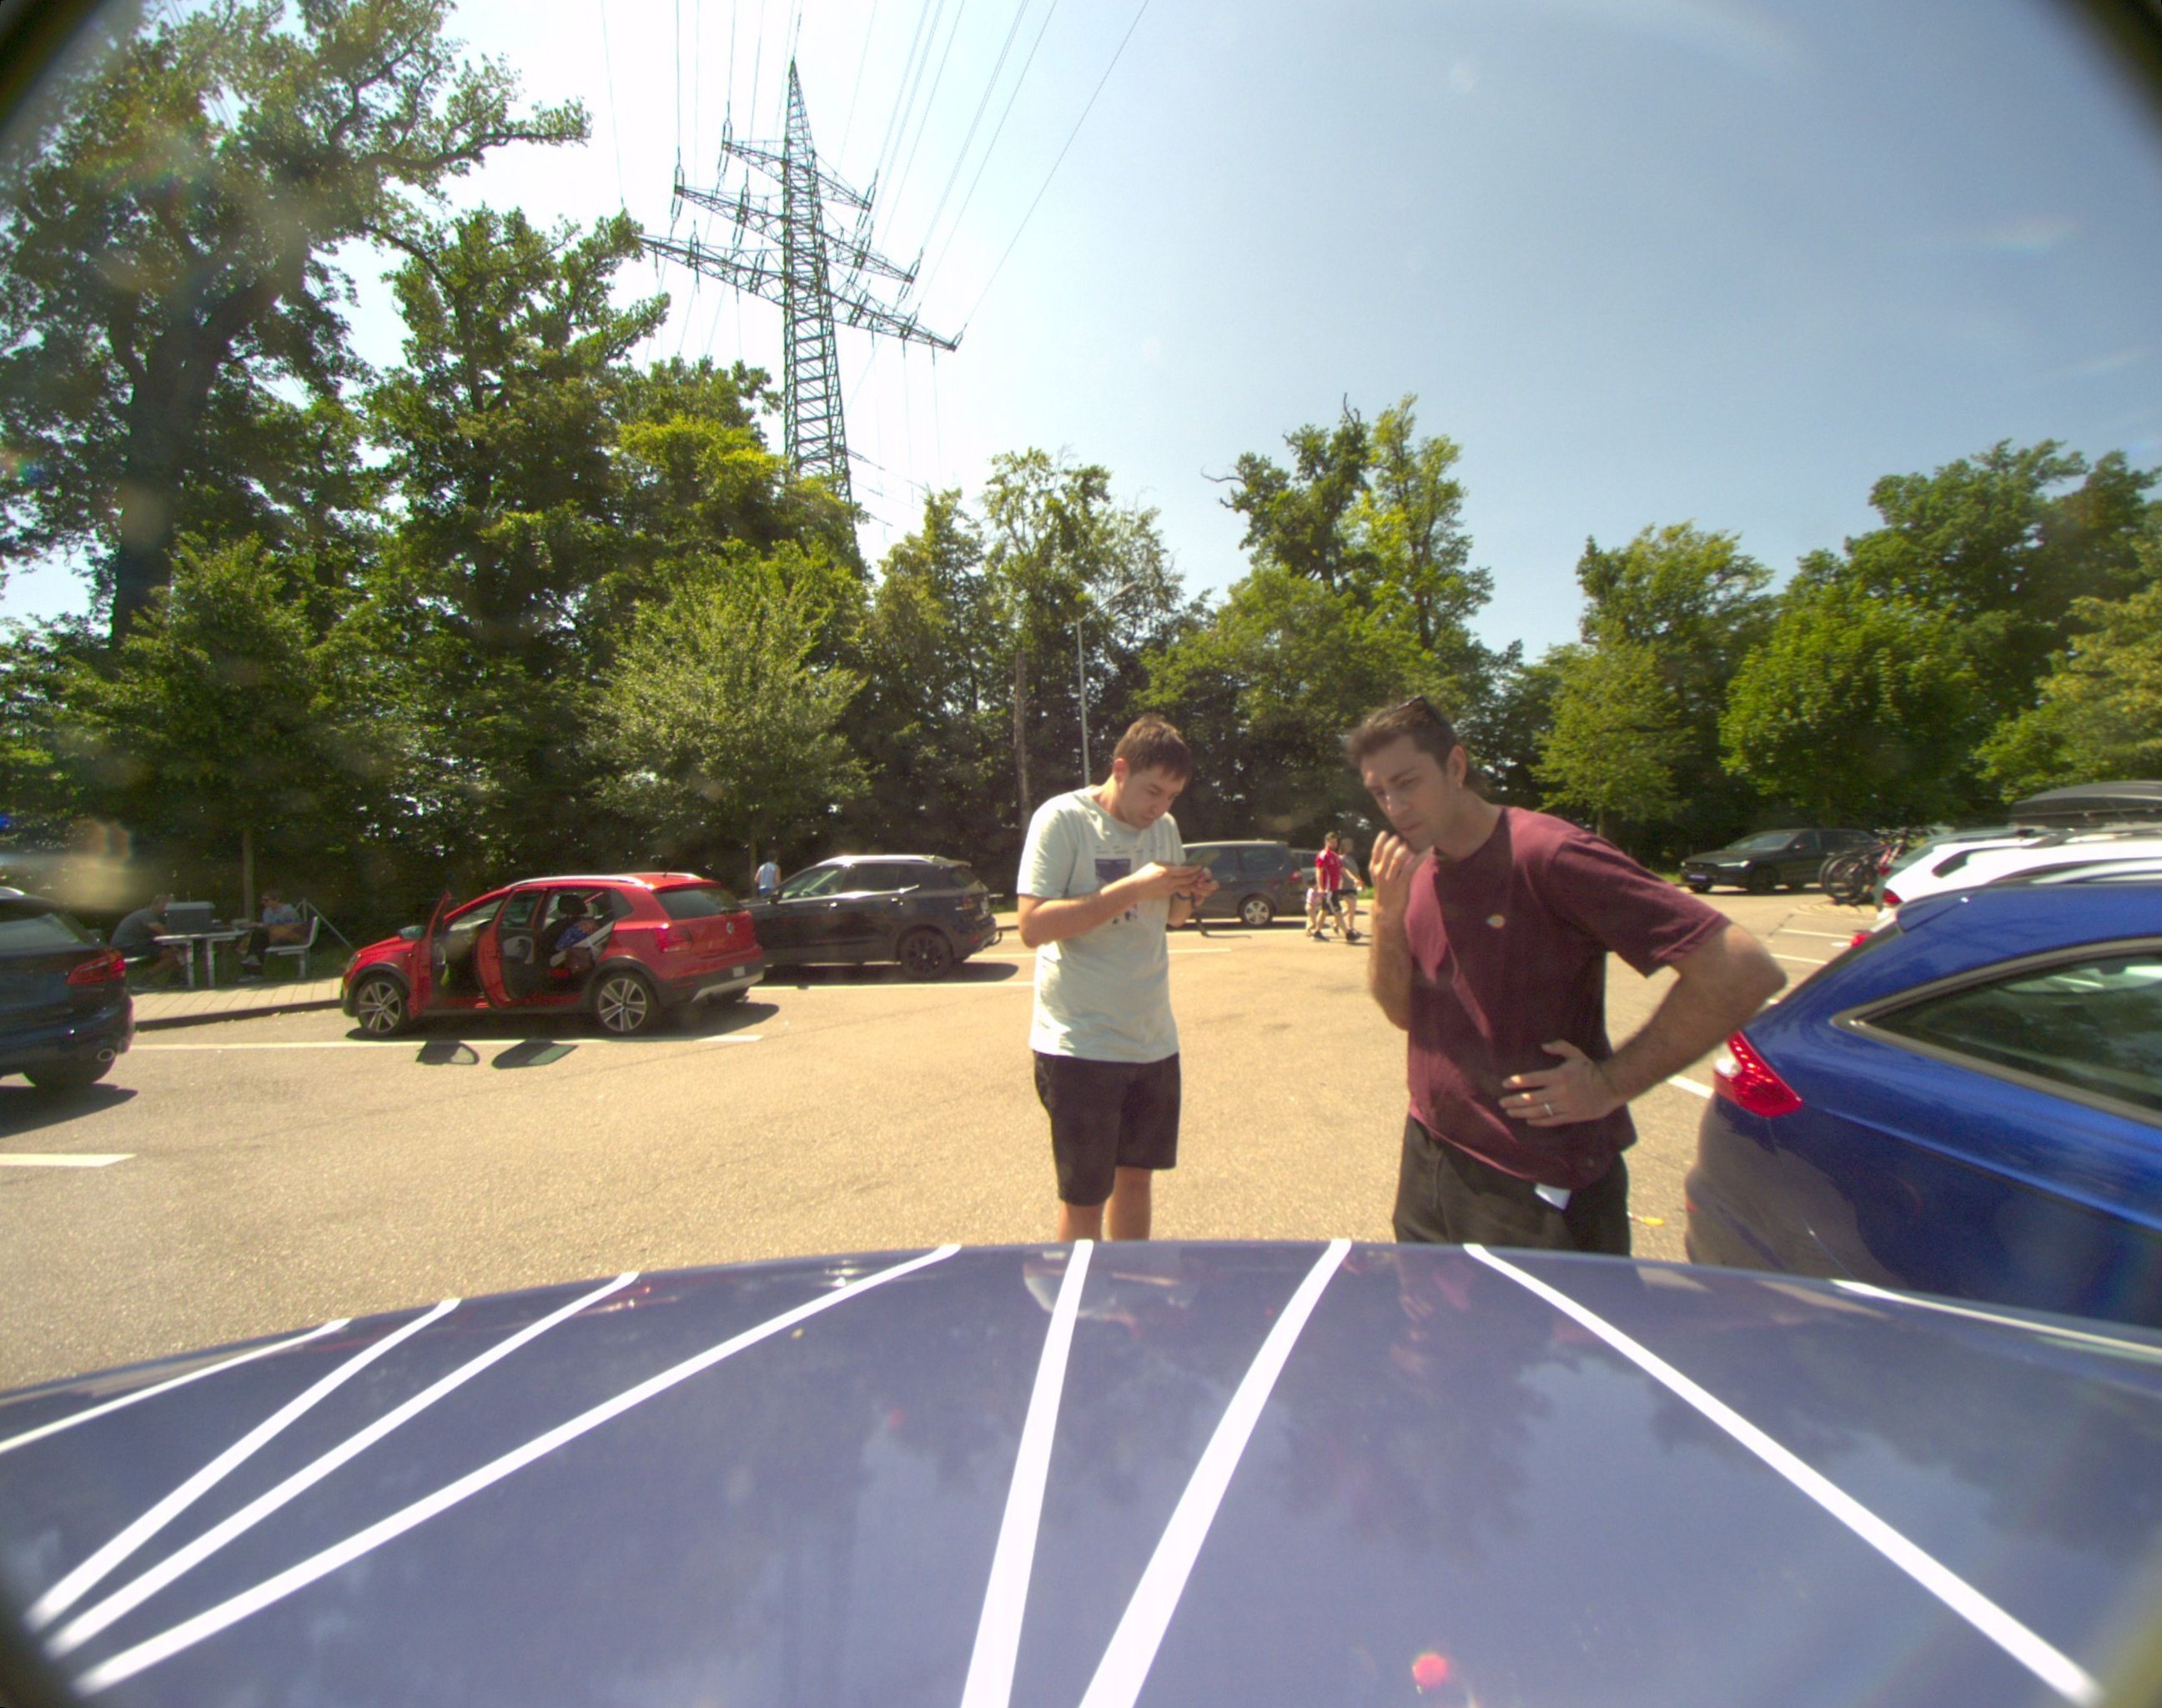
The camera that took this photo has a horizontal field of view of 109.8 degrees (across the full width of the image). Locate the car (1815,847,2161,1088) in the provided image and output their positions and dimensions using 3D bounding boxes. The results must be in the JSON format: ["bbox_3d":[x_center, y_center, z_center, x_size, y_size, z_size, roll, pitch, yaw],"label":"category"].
[{"bbox_3d":[7.476,0.676,4.521,1.776,1.418,4.495,-3,-1,-1],"label":"car"}]

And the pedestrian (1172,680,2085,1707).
[{"bbox_3d":[0.764,0.758,1.273,0.862,1.823,0.863,-1,1,32],"label":"pedestrian"}]

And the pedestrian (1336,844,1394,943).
[{"bbox_3d":[4.854,0.666,13.025,0.832,1.653,0.676,-2,0,15],"label":"pedestrian"}]

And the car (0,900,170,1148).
[{"bbox_3d":[-8.884,1.170,5.001,3.934,1.534,1.812,-2,0,7],"label":"car"}]

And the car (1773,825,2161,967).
[{"bbox_3d":[12.541,0.478,10.378,1.777,1.541,4.493,-3,-1,-5],"label":"car"}]

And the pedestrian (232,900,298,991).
[{"bbox_3d":[-11.950,1.315,11.137,0.695,1.228,0.588,-3,0,43],"label":"pedestrian"}]

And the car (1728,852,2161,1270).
[{"bbox_3d":[4.873,0.745,2.362,1.776,1.491,4.495,-3,-1,-1],"label":"car"}]

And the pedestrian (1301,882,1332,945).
[{"bbox_3d":[4.019,1.005,12.947,0.433,1.038,0.440,-2,0,21],"label":"pedestrian"}]

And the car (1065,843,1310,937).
[{"bbox_3d":[2.140,0.715,15.480,4.619,1.701,1.740,-2,0,9],"label":"car"}]

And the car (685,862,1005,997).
[{"bbox_3d":[-3.032,0.954,10.323,3.732,1.578,1.739,-2,0,2],"label":"car"}]

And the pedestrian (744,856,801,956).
[{"bbox_3d":[-5.802,0.958,14.312,0.765,1.821,0.520,-2,1,2],"label":"pedestrian"}]

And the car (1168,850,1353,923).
[{"bbox_3d":[4.144,0.745,18.018,3.996,1.495,1.687,-2,1,3],"label":"car"}]

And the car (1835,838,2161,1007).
[{"bbox_3d":[10.109,0.572,6.907,1.777,1.418,4.493,-3,-1,-5],"label":"car"}]

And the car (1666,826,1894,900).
[{"bbox_3d":[18.443,0.209,20.154,4.617,1.703,1.998,-2,1,-8],"label":"car"}]

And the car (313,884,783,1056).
[{"bbox_3d":[-5.189,1.097,7.646,3.730,1.440,1.591,-2,0,7],"label":"car"}]

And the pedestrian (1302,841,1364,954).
[{"bbox_3d":[3.990,0.672,12.008,0.832,1.722,0.677,-2,1,21],"label":"pedestrian"}]

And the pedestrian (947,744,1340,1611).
[{"bbox_3d":[0.115,0.718,2.116,0.861,1.940,0.687,-2,1,-12],"label":"pedestrian"}]

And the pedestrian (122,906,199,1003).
[{"bbox_3d":[-12.631,1.349,10.448,0.695,1.228,0.588,-3,0,43],"label":"pedestrian"}]
